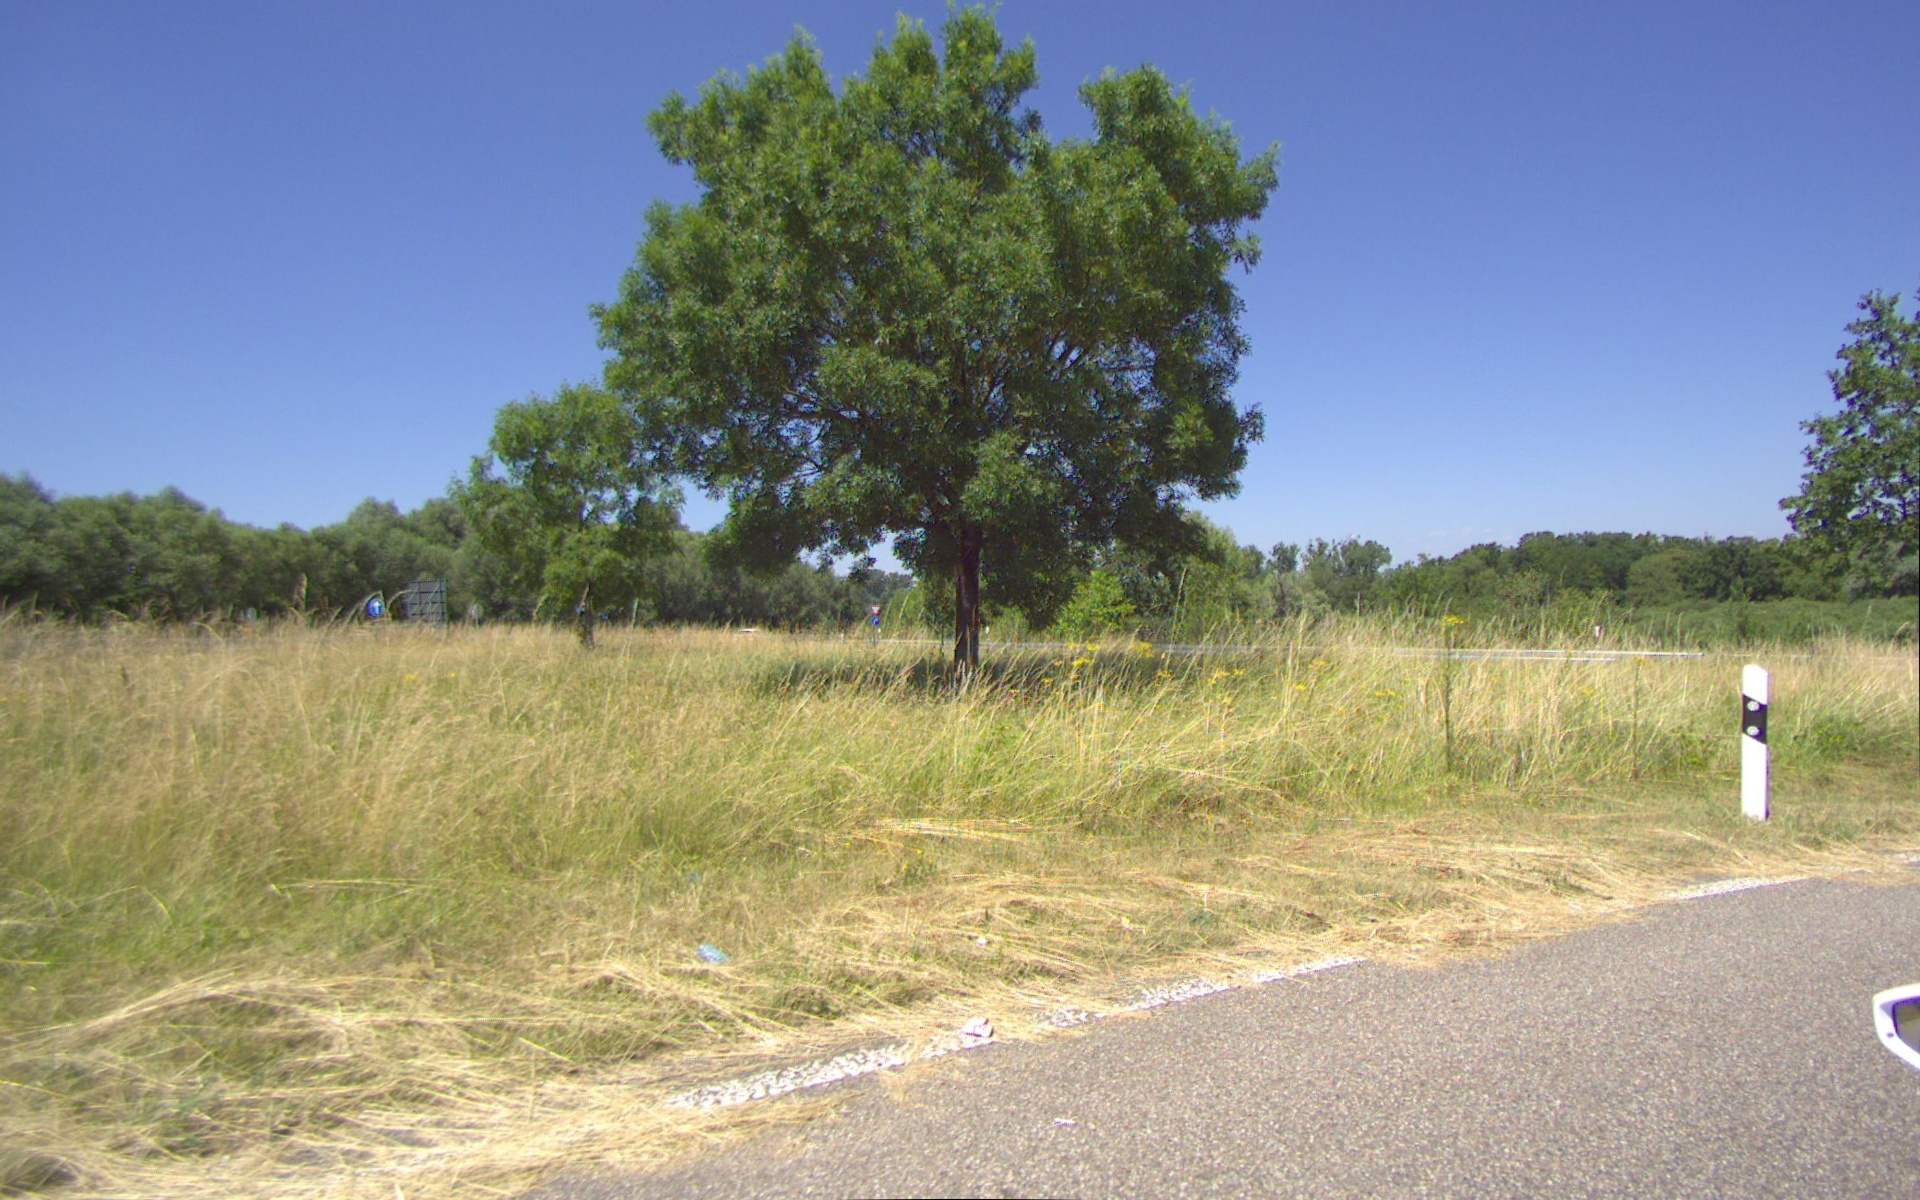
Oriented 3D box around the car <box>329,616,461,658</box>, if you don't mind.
[{"bbox_3d":[-21.639,1.380,38.749,1.852,1.500,5.008,-1,-1,6],"label":"car"}]
